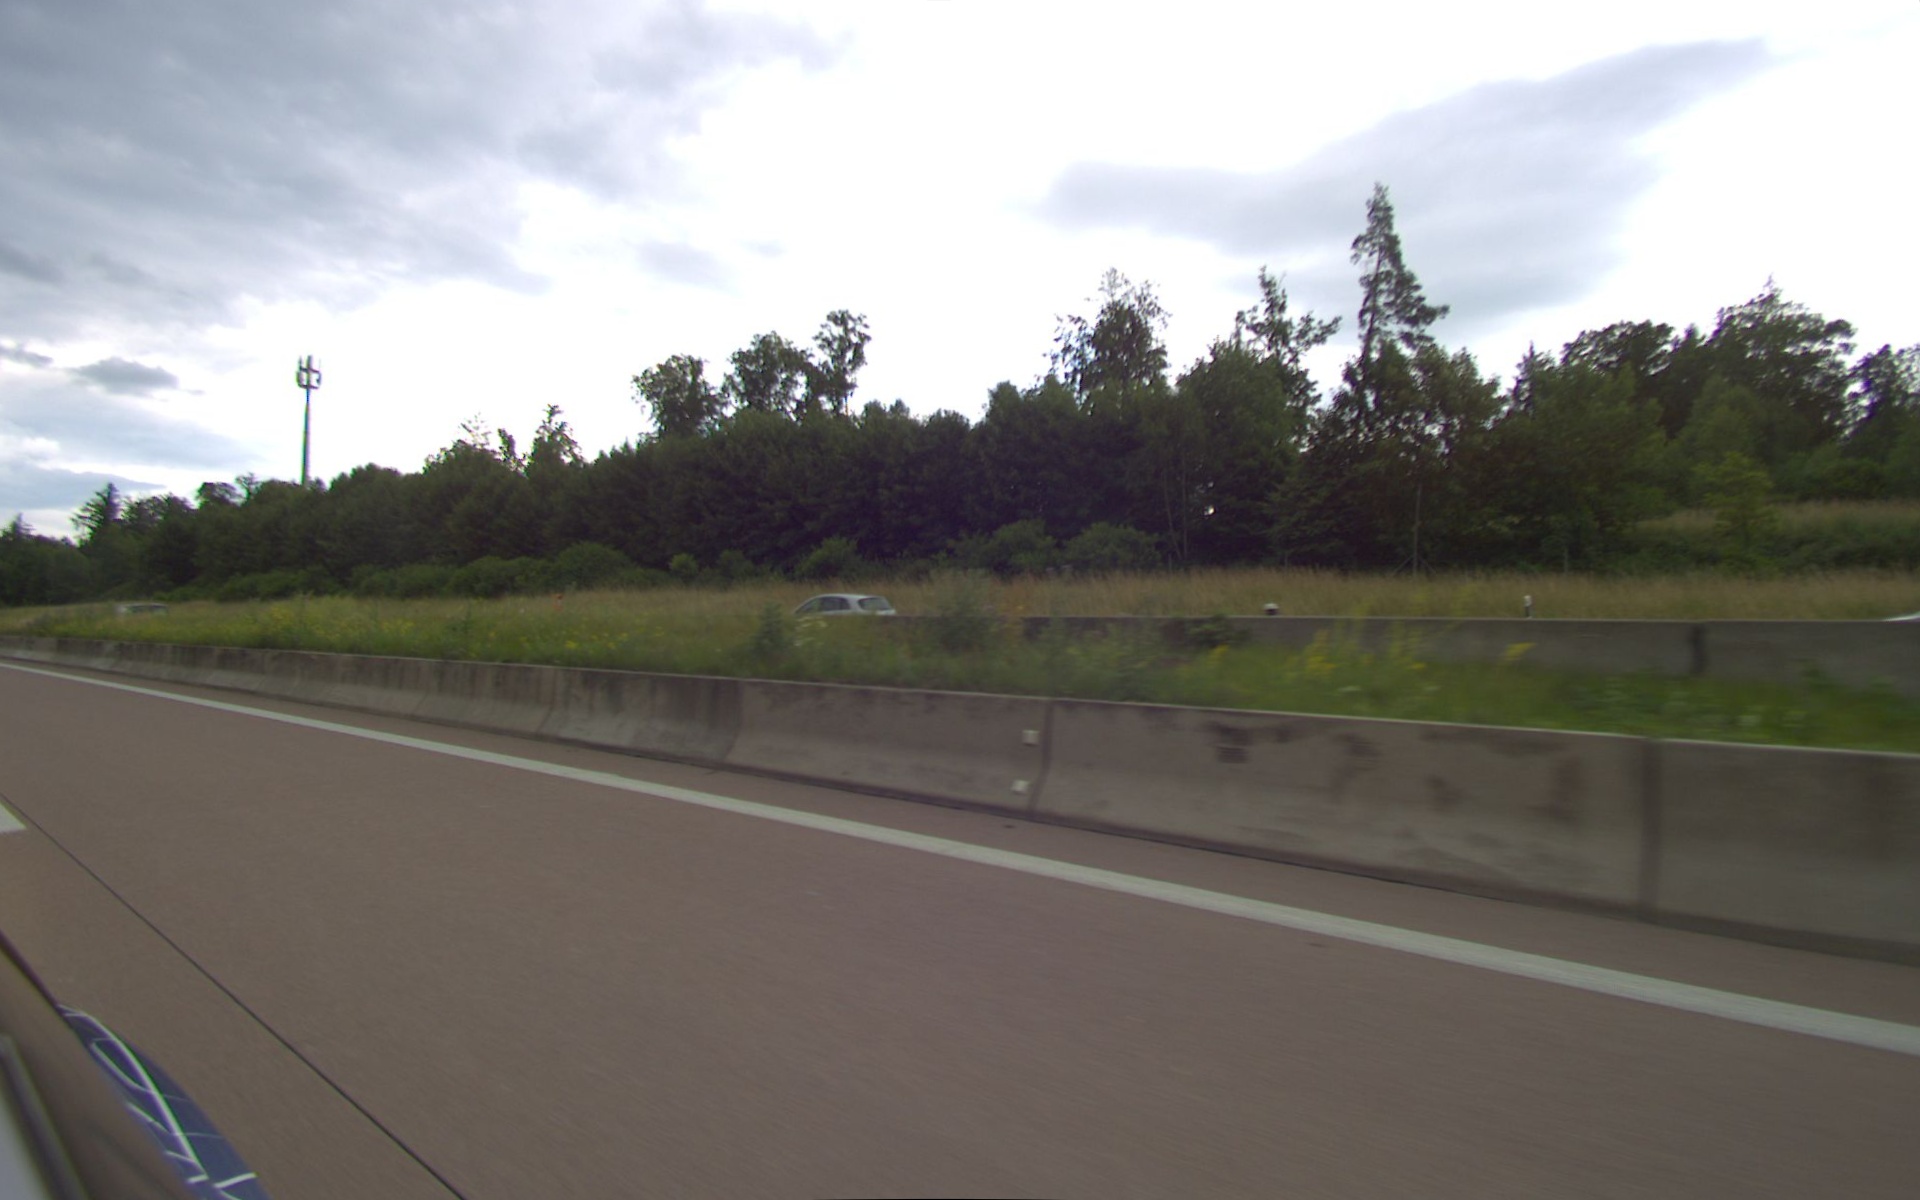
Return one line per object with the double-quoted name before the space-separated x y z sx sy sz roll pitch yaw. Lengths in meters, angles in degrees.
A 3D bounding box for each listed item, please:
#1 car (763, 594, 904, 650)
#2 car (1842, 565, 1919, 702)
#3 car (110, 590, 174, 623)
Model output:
"car" -3.839 0.589 30.248 4.411 1.536 1.714 0 1 42
"car" 12.458 0.378 10.933 4.411 1.536 1.714 0 1 42
"car" -46.523 0.336 57.526 5.221 1.831 1.856 0 1 40
